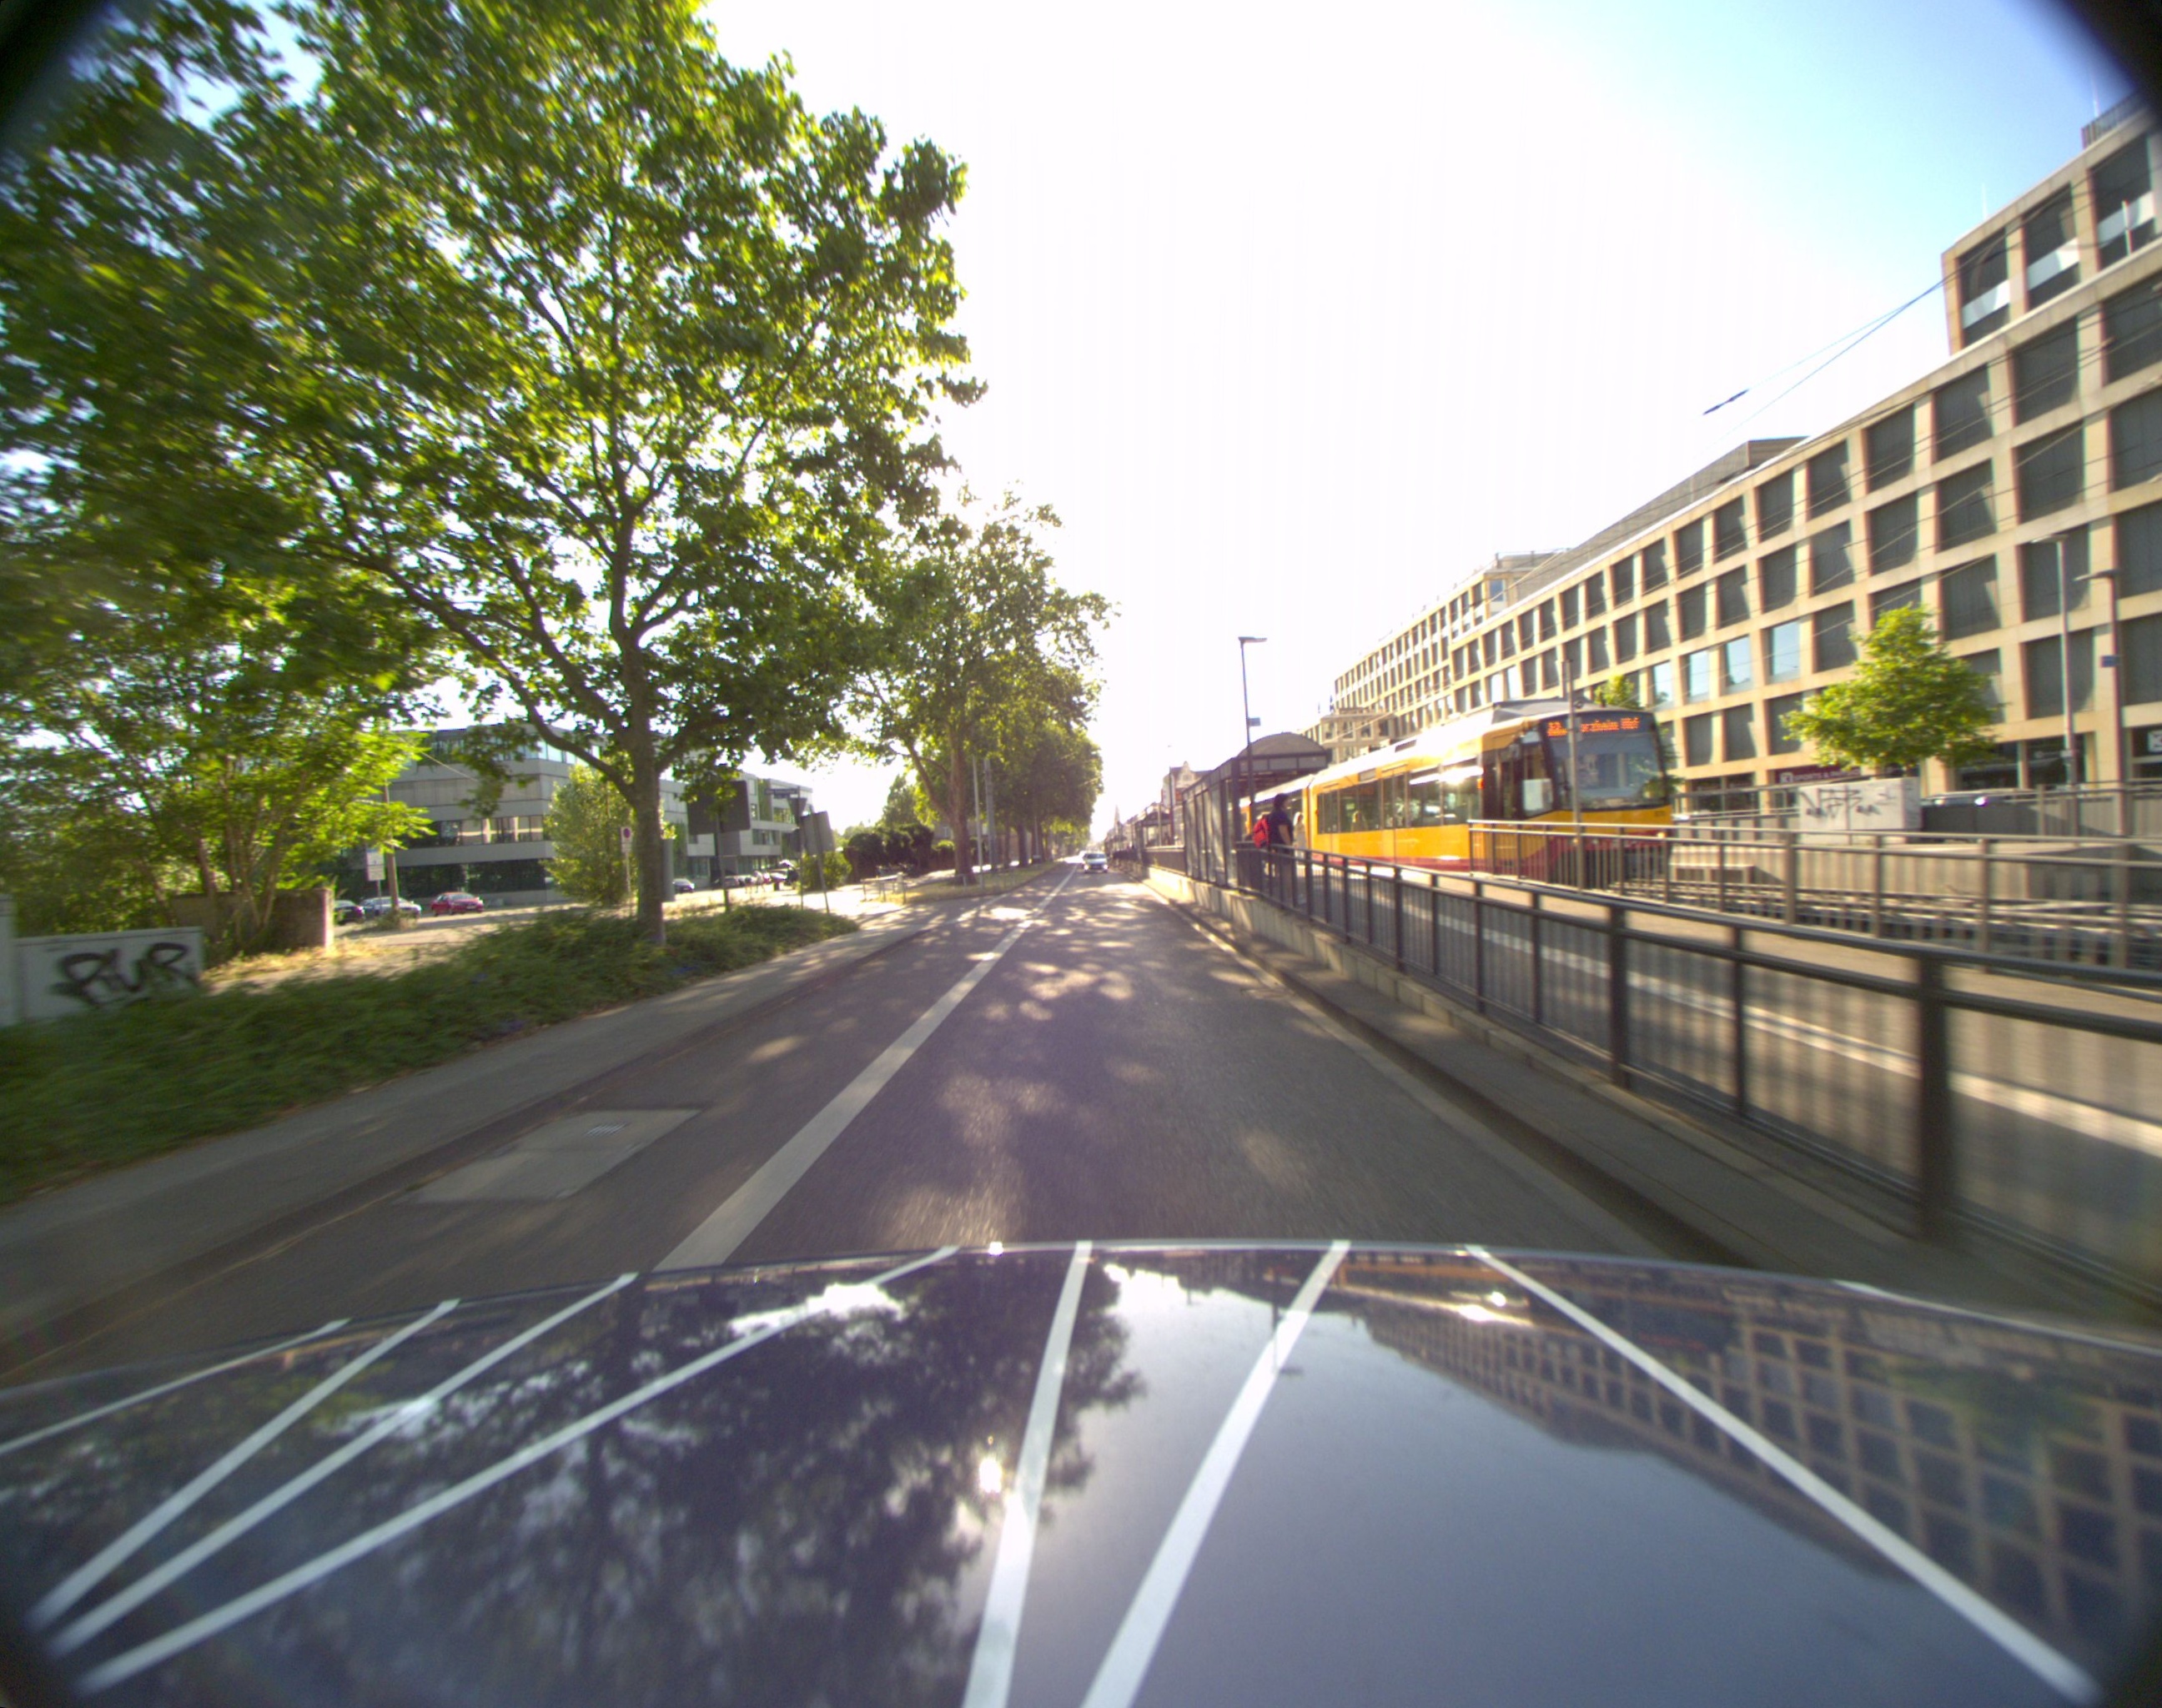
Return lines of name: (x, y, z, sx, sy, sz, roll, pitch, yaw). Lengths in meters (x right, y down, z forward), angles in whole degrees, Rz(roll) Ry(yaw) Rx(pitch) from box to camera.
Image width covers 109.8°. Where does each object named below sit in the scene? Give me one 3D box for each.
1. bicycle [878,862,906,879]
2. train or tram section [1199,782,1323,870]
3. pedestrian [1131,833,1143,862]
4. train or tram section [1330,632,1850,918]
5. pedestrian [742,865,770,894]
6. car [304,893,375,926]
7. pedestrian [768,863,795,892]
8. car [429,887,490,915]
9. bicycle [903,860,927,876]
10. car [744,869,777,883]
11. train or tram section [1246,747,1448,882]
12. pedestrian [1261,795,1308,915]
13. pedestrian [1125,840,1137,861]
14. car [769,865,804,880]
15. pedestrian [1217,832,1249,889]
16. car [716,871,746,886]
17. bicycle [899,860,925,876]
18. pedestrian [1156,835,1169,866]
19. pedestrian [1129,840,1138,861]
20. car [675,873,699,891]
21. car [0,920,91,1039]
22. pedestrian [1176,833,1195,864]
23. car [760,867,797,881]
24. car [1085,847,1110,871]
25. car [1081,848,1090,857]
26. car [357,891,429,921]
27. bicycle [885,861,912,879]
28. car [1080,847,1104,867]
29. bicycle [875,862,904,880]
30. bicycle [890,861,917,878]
bicycle: (-12.969, 1.125, 52.197, 1.777, 1.114, 0.439, -2, 1, 0)
train or tram section: (9.276, -1.355, 41.643, 3.317, 3.807, 14.217, -4, 1, 0)
pedestrian: (3.588, -0.401, 48.460, 0.613, 1.774, 0.613, -4, 1, 1)
train or tram section: (9.119, -1.165, 16.611, 3.317, 3.807, 11.842, -4, 1, 0)
pedestrian: (-23.980, 1.878, 56.008, 1.394, 2.002, 1.049, -4, 1, 13)
car: (-41.072, 3.064, 42.067, 4.355, 1.602, 1.862, -3, 1, 33)
pedestrian: (-22.334, 1.742, 56.640, 1.394, 2.002, 1.049, -4, 1, 13)
car: (-41.129, 3.101, 50.260, 4.355, 1.602, 1.886, -3, 1, 34)
bicycle: (-12.745, 1.061, 58.477, 1.692, 1.114, 0.439, -2, 1, 0)
car: (-41.619, 2.884, 98.767, 3.659, 1.555, 1.652, -3, 1, 19)
train or tram section: (9.199, -1.234, 28.532, 3.317, 3.807, 11.842, -4, 1, 0)
pedestrian: (3.001, 0.013, 11.249, 0.413, 1.707, 0.665, -4, 1, 1)
pedestrian: (3.929, -0.285, 59.899, 0.614, 1.633, 0.612, -4, 1, -19)
car: (-40.892, 2.548, 105.478, 4.356, 1.805, 1.974, -3, 1, 24)
pedestrian: (3.552, 0.143, 17.737, 0.568, 1.286, 0.500, -4, 1, 0)
car: (-40.844, 2.867, 88.539, 3.656, 1.512, 1.653, -3, 1, 39)
bicycle: (-12.758, 1.073, 57.410, 1.777, 1.114, 0.439, -2, 1, 0)
pedestrian: (4.844, -0.221, 45.131, 0.611, 1.774, 0.681, -4, 1, 1)
pedestrian: (4.218, -0.301, 61.155, 0.613, 1.659, 0.613, -4, 1, 2)
car: (-40.118, 2.843, 77.301, 1.652, 1.655, 3.657, -4, 1, -34)
car: (-15.252, 1.774, 9.116, 1.618, 1.506, 3.802, -4, 1, 1)
pedestrian: (6.126, -0.302, 44.665, 0.796, 1.774, 0.647, -5, 1, -39)
car: (-40.836, 2.716, 102.514, 4.357, 1.636, 1.797, -3, 1, 20)
car: (1.153, 0.336, 54.618, 1.649, 1.555, 3.665, -4, 1, 0)
car: (0.930, -0.376, 168.664, 1.833, 1.645, 3.999, -4, 1, 1)
car: (-41.222, 3.124, 45.503, 4.355, 1.580, 2.003, -3, 1, 32)
bicycle: (-12.731, 1.112, 53.048, 1.777, 1.114, 0.439, -2, 1, 0)
car: (1.002, 0.278, 67.045, 1.648, 1.555, 3.667, -4, 1, 7)
bicycle: (-12.563, 1.132, 49.943, 1.778, 1.114, 0.439, -2, 1, -6)
bicycle: (-12.711, 1.105, 54.327, 1.777, 1.114, 0.439, -2, 1, 0)
